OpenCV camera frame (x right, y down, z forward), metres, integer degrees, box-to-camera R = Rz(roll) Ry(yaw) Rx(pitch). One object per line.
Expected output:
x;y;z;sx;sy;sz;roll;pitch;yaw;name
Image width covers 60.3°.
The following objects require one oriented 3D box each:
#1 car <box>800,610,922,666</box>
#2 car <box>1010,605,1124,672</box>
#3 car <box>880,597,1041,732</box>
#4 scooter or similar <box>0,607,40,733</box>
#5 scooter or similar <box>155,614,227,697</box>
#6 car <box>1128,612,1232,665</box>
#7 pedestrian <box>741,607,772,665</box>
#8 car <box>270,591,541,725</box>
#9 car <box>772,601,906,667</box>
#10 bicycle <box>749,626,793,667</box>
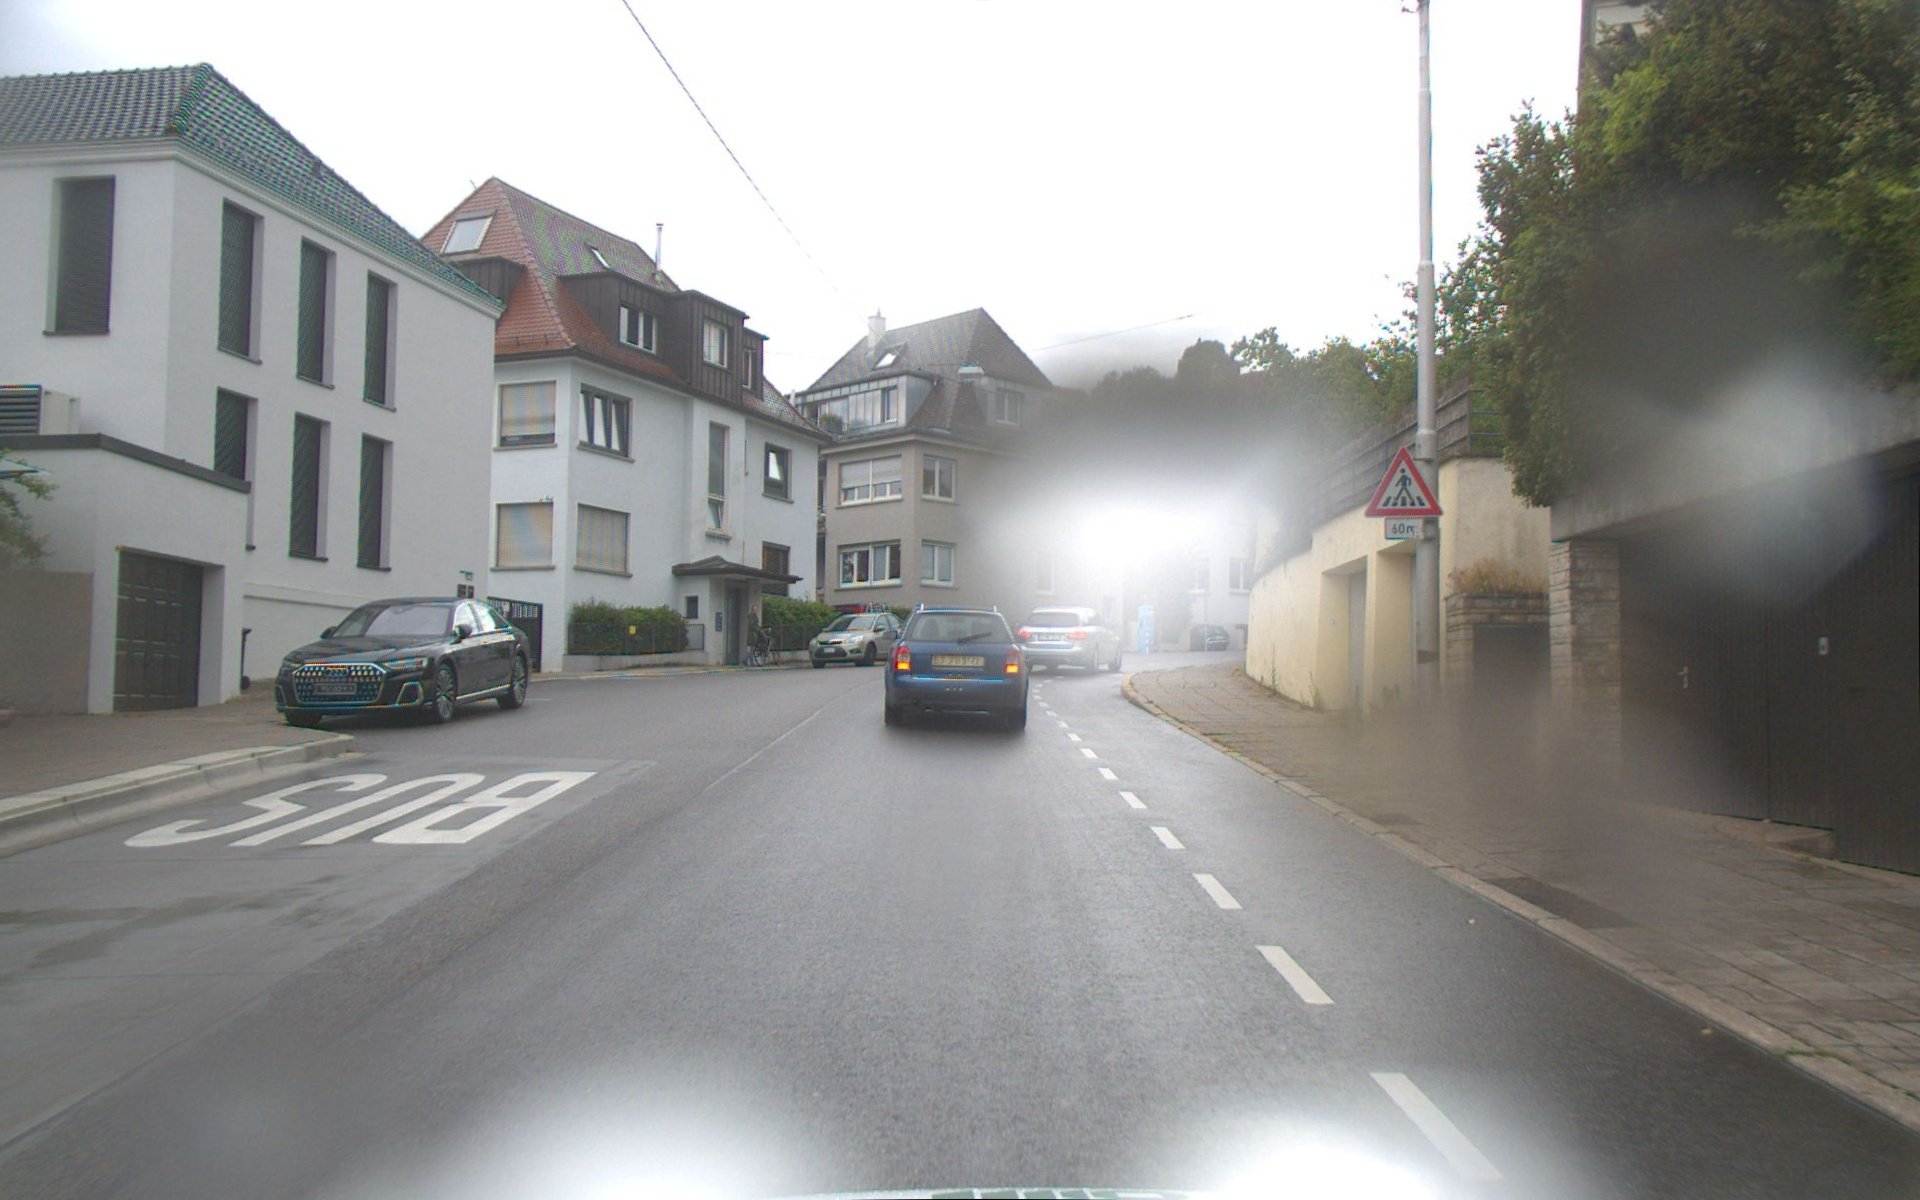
-2.728;1.049;46.513;1.798;1.450;4.229;-2;-1;21;car
2.495;0.911;37.574;1.773;1.384;4.002;2;-2;16;car
0.022;0.730;20.774;1.774;1.464;4.081;2;0;0;car
-9.612;0.687;16.388;0.330;1.241;1.122;1;-1;1;scooter or similar
-10.753;0.762;23.145;0.421;1.129;1.311;1;-1;-2;scooter or similar
9.335;1.654;70.373;1.978;1.652;4.201;0;-9;-36;car
-5.622;0.984;45.748;0.482;1.605;0.948;0;-1;18;pedestrian
-6.914;0.698;21.238;1.791;1.512;4.990;0;-1;0;car
-4.032;1.146;55.266;3.911;1.854;1.997;-6;-3;28;car
-5.204;1.268;45.550;0.446;1.086;1.922;0;-1;18;bicycle
